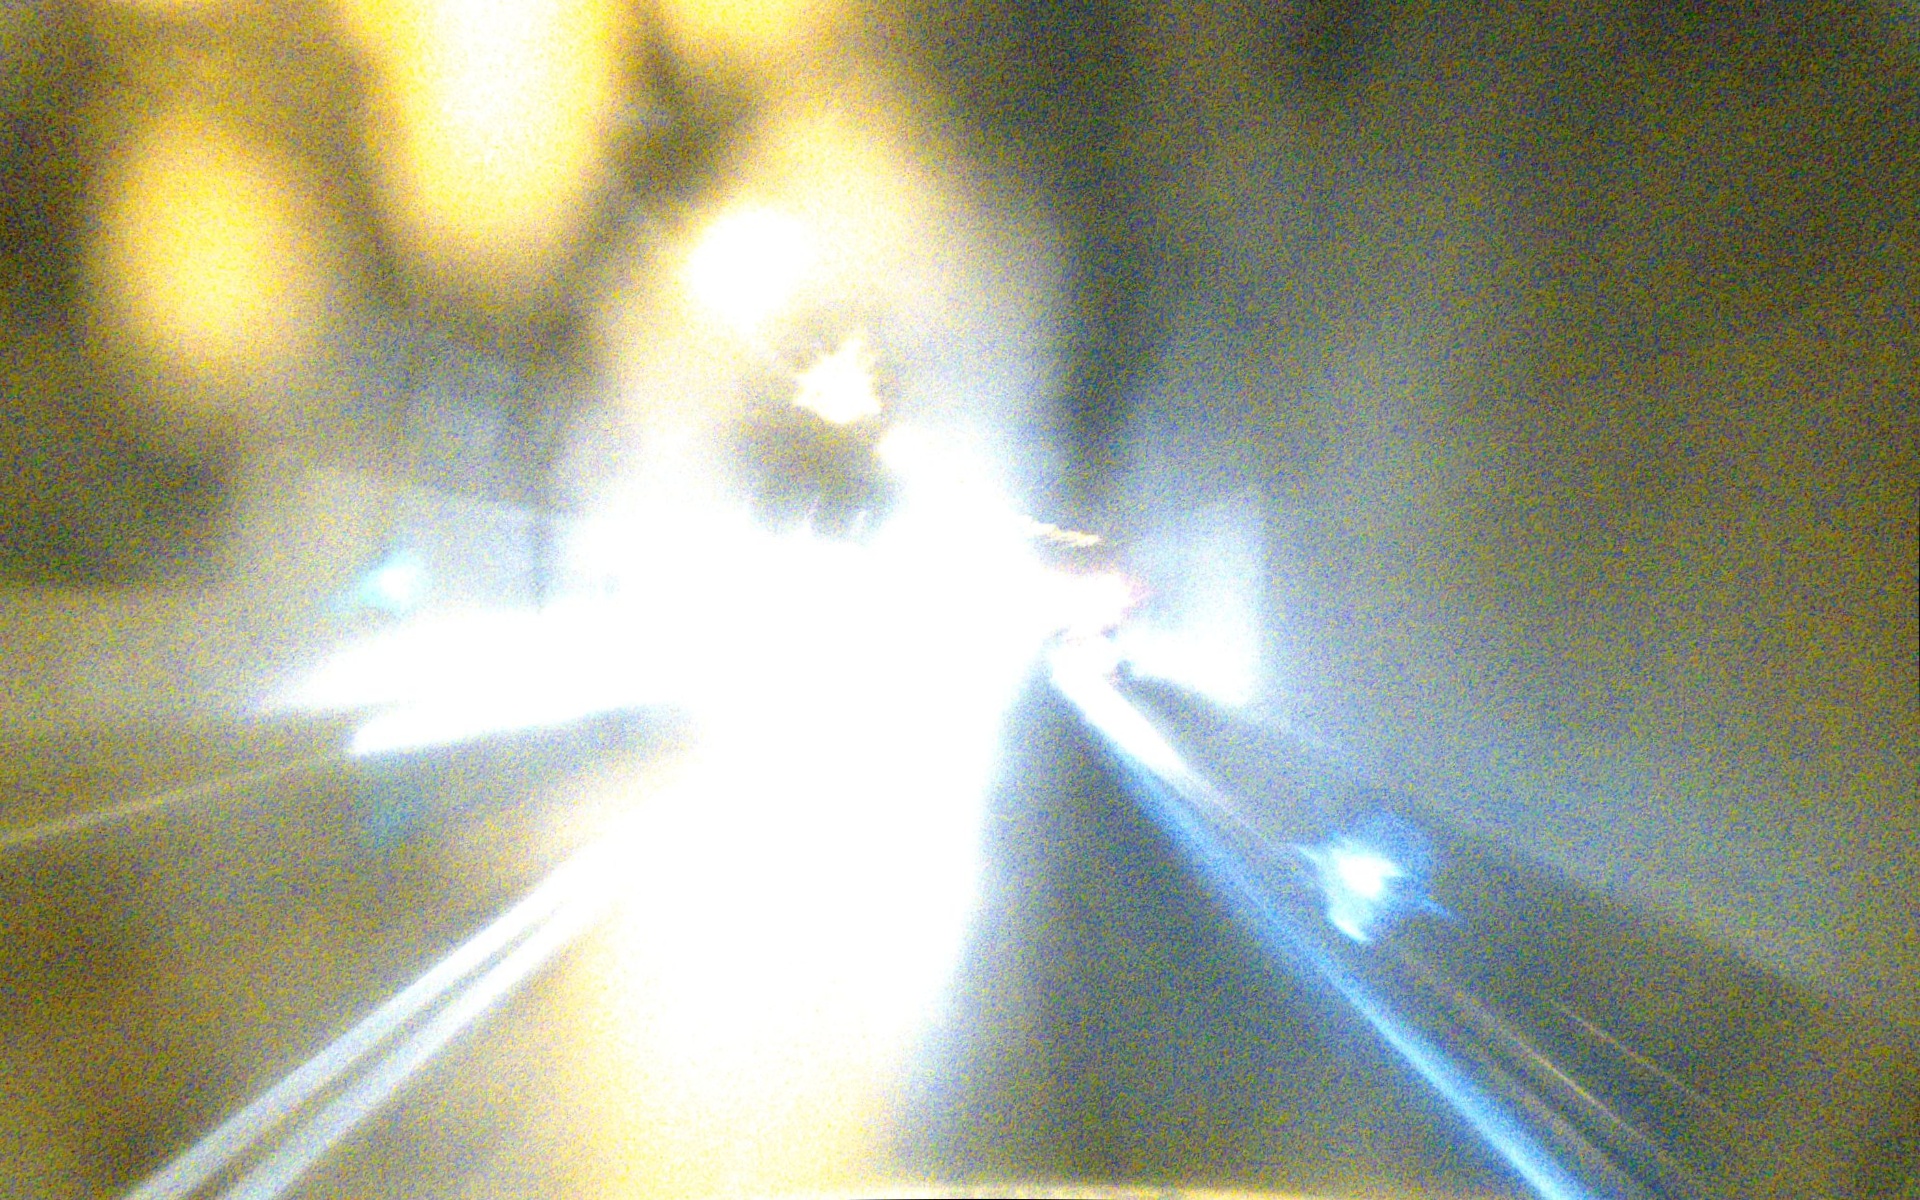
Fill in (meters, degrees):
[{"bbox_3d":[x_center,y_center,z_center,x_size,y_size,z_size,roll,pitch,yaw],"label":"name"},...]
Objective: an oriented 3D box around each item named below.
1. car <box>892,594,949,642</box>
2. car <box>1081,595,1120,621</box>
[{"bbox_3d":[-1.310,0.575,56.147,1.673,1.536,4.080,1,0,2],"label":"car"},{"bbox_3d":[9.397,0.505,110.515,1.951,1.679,4.003,1,1,15],"label":"car"}]
